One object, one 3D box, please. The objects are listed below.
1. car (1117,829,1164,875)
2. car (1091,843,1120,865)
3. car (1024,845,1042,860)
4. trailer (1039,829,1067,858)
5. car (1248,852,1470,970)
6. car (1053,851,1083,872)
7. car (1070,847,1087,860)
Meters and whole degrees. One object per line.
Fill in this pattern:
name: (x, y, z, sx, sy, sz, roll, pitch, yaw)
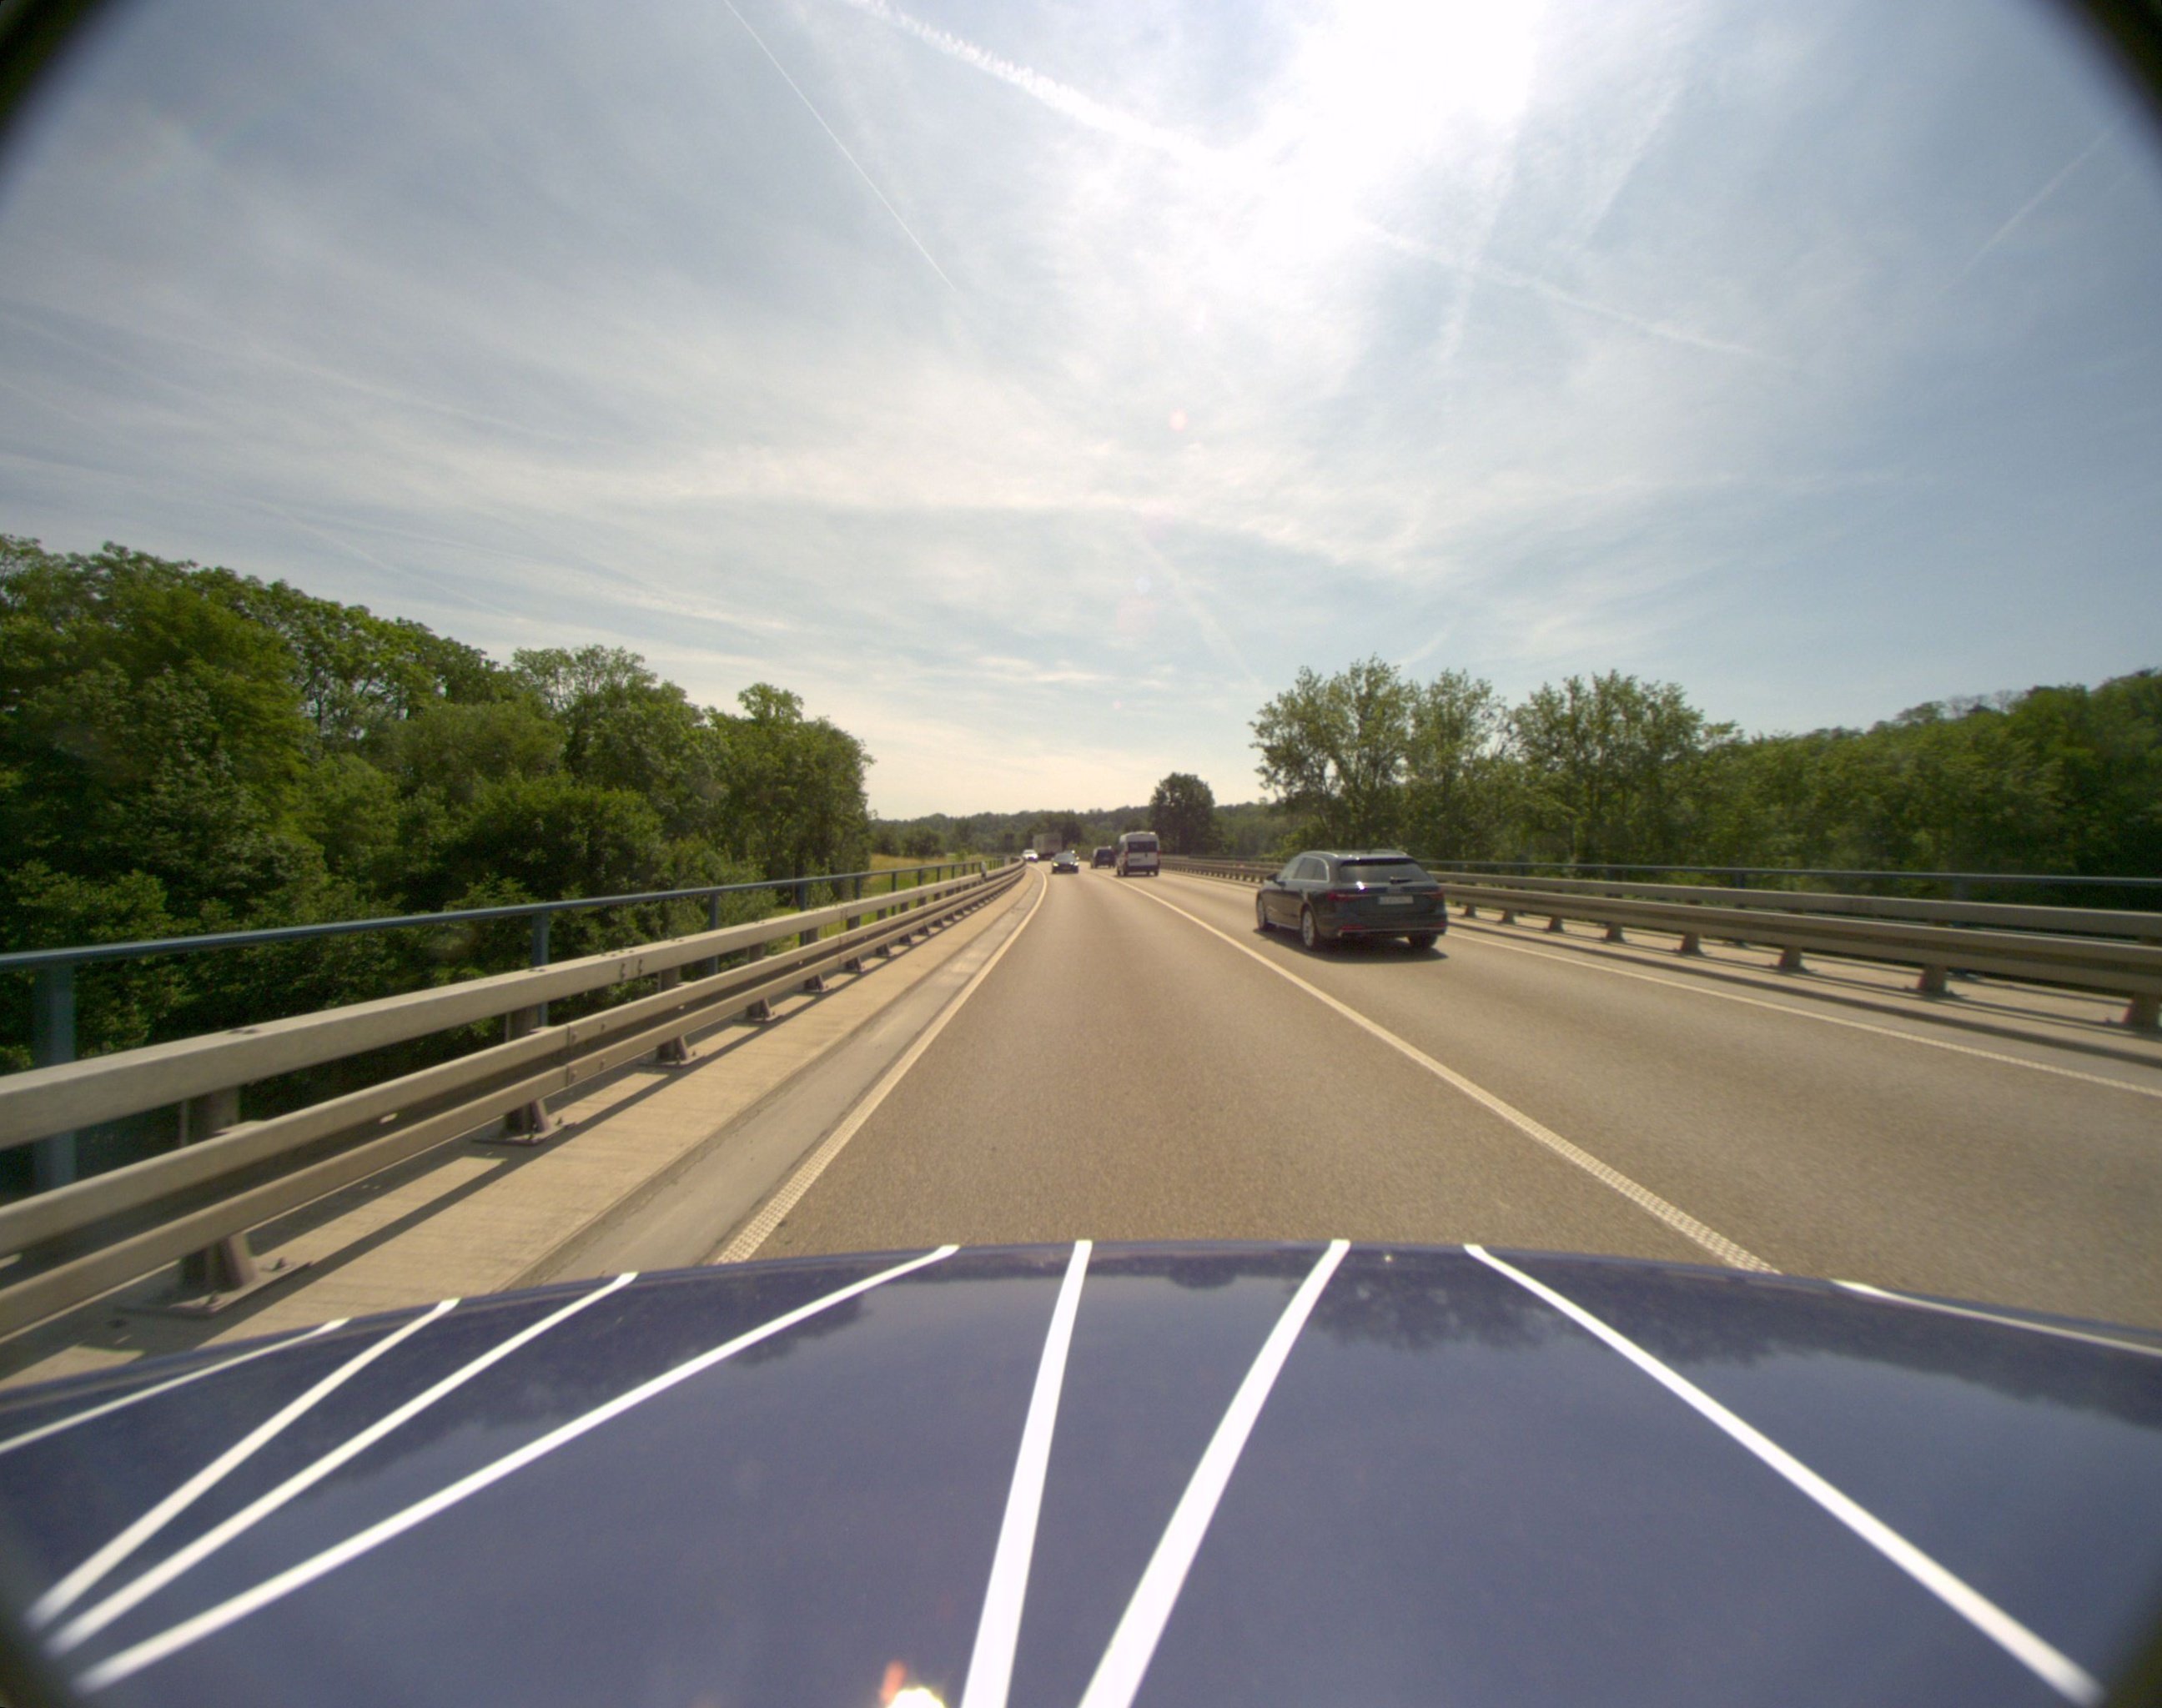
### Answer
car: (3.516, -0.175, 45.984, 2.185, 2.545, 5.794, -2, 1, -1)
car: (2.075, -0.028, 65.973, 1.858, 1.788, 4.974, -2, 1, -5)
car: (-6.295, -0.182, 99.322, 1.981, 1.779, 3.996, -2, 1, -7)
trailer: (-4.393, -1.508, 117.101, 2.862, 4.163, 14.487, -2, 0, -7)
car: (4.038, 0.717, 11.943, 1.725, 1.427, 4.616, -2, 1, -1)
car: (-0.932, 0.531, 53.665, 1.981, 1.333, 3.999, -2, 0, -2)
car: (-0.303, -0.060, 93.276, 1.666, 1.449, 3.892, -2, 0, -7)
